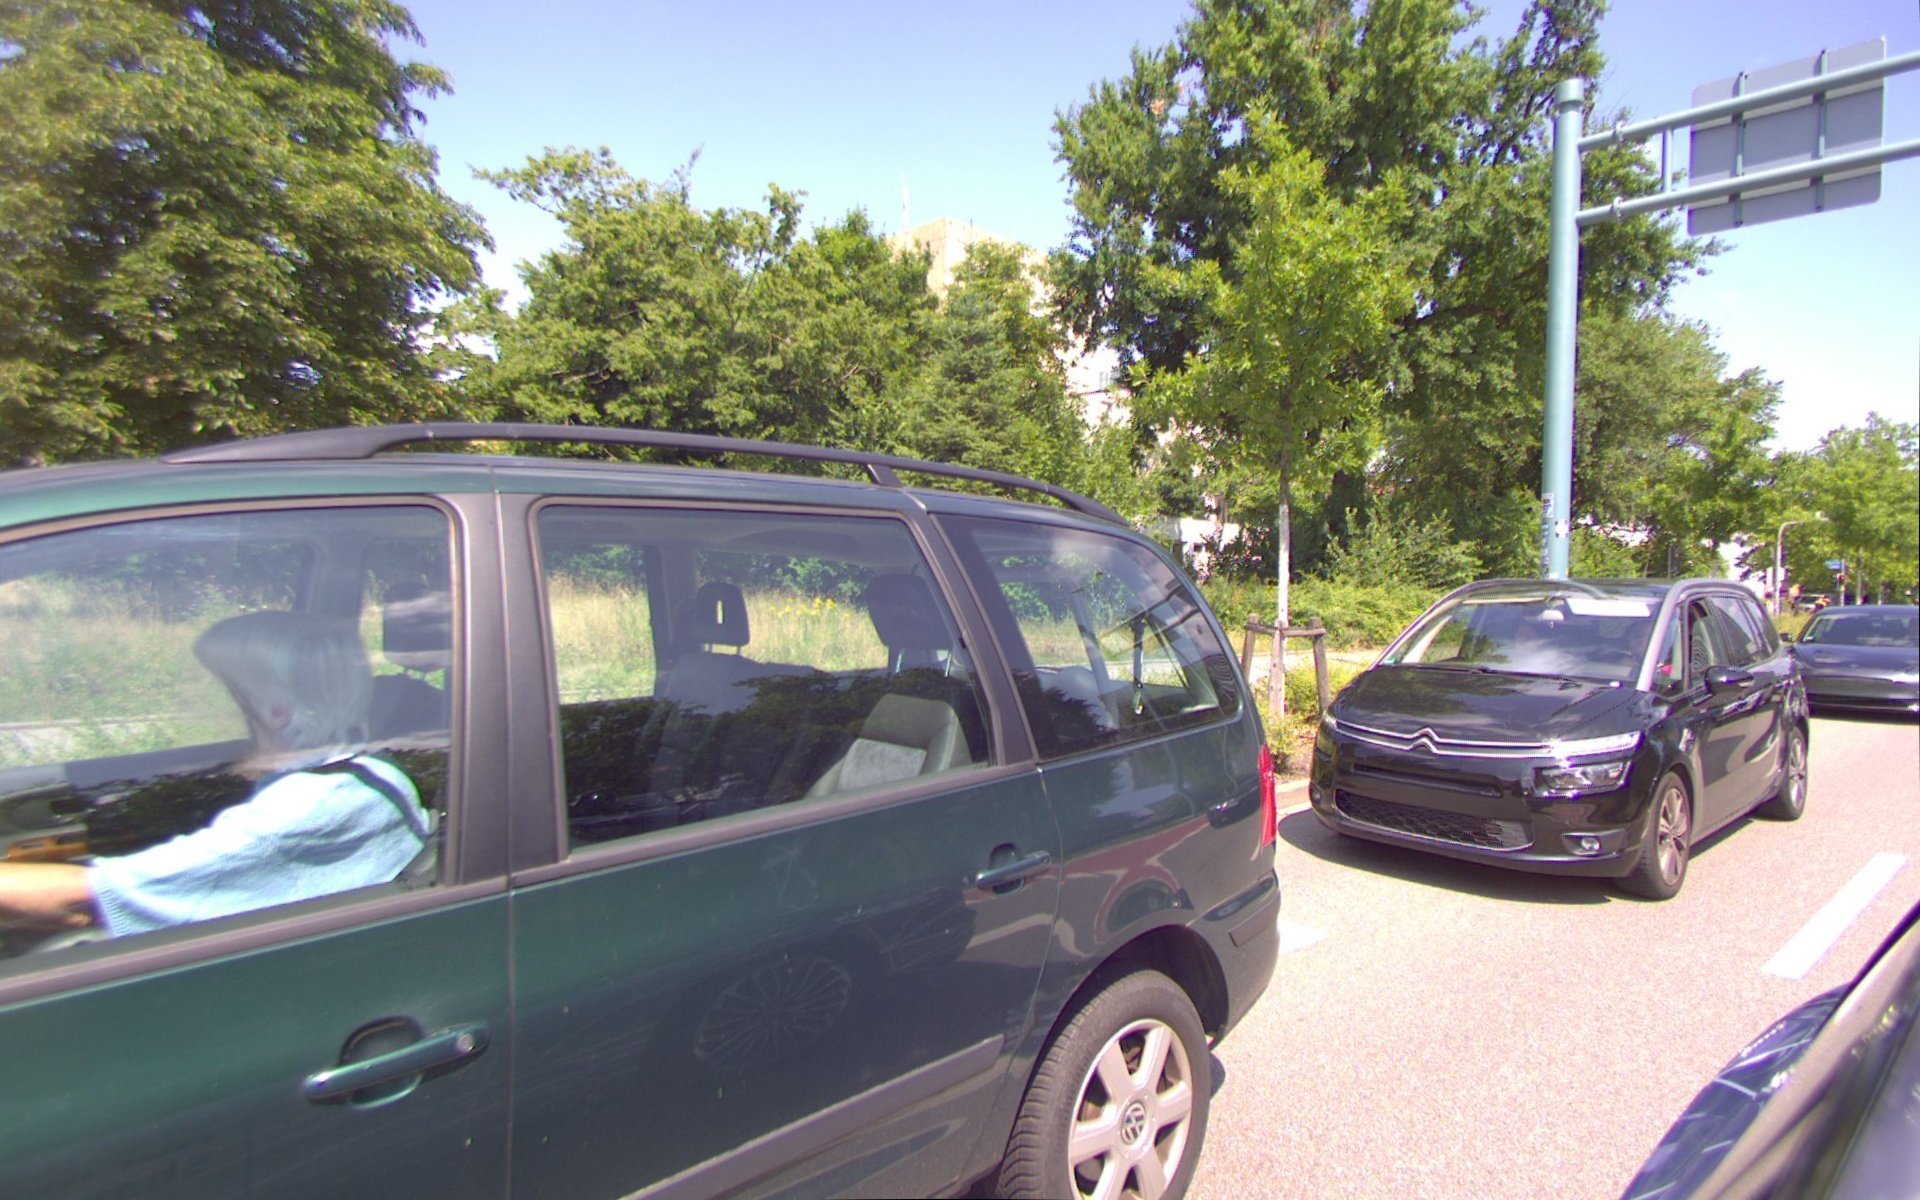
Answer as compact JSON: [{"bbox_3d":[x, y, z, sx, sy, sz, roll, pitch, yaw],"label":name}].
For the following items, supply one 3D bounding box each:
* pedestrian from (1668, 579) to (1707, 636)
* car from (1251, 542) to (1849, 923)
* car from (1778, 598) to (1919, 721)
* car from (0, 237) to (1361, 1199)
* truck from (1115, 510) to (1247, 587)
[{"bbox_3d":[23.006,0.232,31.996,0.827,1.787,0.844,0,0,-41],"label":"pedestrian"},{"bbox_3d":[3.988,0.593,6.508,4.438,1.643,1.862,1,-1,-39],"label":"car"},{"bbox_3d":[12.613,0.716,13.620,4.287,1.436,1.764,1,-1,-41],"label":"car"},{"bbox_3d":[-1.180,0.528,1.945,4.369,1.745,1.797,1,-1,-40],"label":"car"},{"bbox_3d":[9.660,-2.123,43.704,7.009,3.061,2.093,-1,0,-45],"label":"truck"}]
